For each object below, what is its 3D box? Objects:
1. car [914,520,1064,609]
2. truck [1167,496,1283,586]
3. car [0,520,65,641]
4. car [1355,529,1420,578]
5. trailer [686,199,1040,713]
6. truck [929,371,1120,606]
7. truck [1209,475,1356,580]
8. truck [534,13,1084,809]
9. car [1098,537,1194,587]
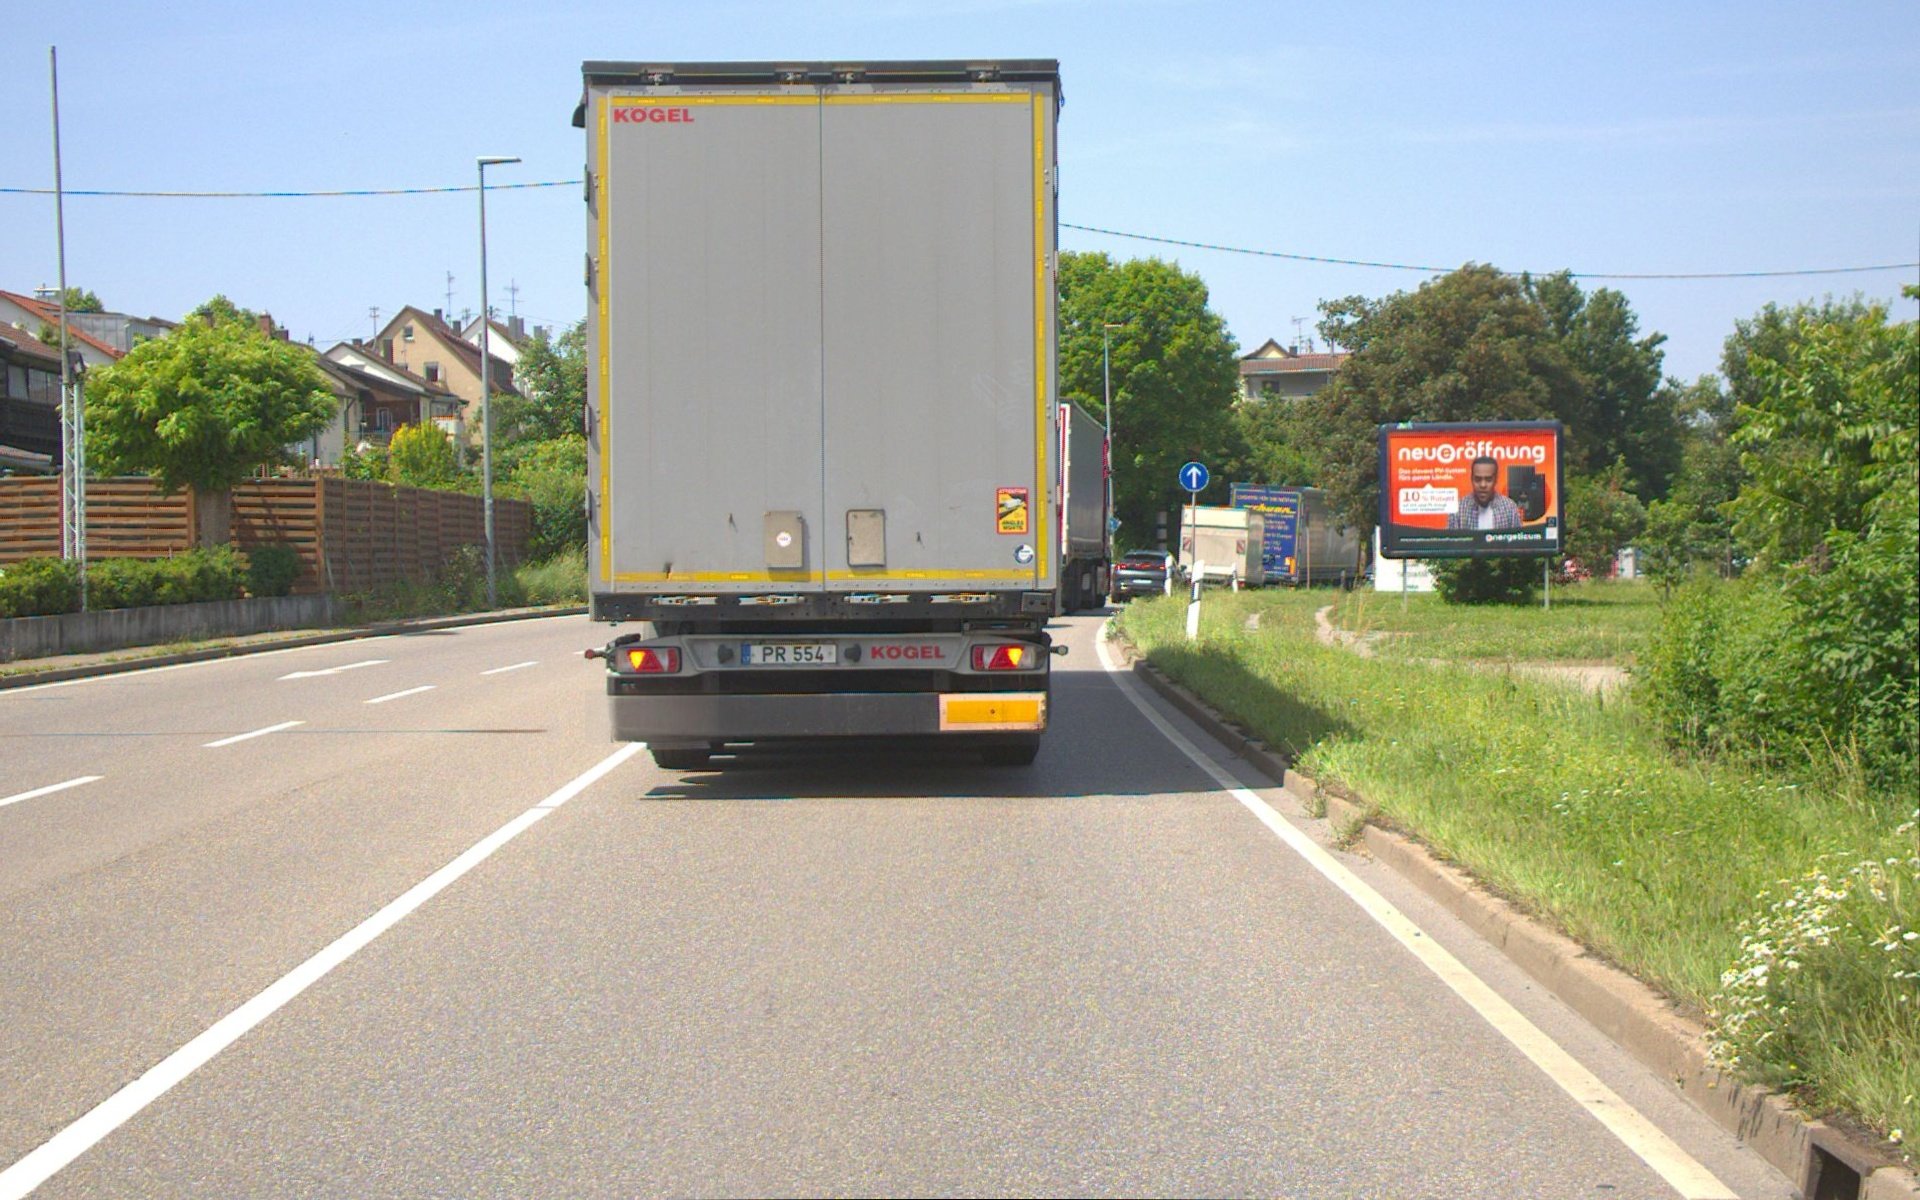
[{"bbox_3d":[0.501,-0.556,54.508,1.819,1.342,3.846,1,0,9],"label":"car"},{"bbox_3d":[8.556,-1.866,110.447,2.545,2.793,6.027,1,0,16],"label":"truck"},{"bbox_3d":[-13.289,-0.264,42.103,4.334,1.442,1.854,1,0,26],"label":"car"},{"bbox_3d":[17.793,-1.914,142.895,1.995,2.007,3.997,1,0,17],"label":"car"},{"bbox_3d":[-0.752,-1.221,30.720,2.825,4.097,6.544,0,1,0],"label":"trailer"},{"bbox_3d":[1.559,-2.093,71.070,2.761,4.274,16.412,1,0,5],"label":"truck"},{"bbox_3d":[11.560,-2.622,122.330,3.435,3.592,9.347,1,2,17],"label":"truck"},{"bbox_3d":[-0.770,-1.087,23.640,2.822,4.113,11.444,1,1,0],"label":"truck"},{"bbox_3d":[5.260,-1.050,96.702,1.995,1.371,3.998,1,0,13],"label":"car"}]
